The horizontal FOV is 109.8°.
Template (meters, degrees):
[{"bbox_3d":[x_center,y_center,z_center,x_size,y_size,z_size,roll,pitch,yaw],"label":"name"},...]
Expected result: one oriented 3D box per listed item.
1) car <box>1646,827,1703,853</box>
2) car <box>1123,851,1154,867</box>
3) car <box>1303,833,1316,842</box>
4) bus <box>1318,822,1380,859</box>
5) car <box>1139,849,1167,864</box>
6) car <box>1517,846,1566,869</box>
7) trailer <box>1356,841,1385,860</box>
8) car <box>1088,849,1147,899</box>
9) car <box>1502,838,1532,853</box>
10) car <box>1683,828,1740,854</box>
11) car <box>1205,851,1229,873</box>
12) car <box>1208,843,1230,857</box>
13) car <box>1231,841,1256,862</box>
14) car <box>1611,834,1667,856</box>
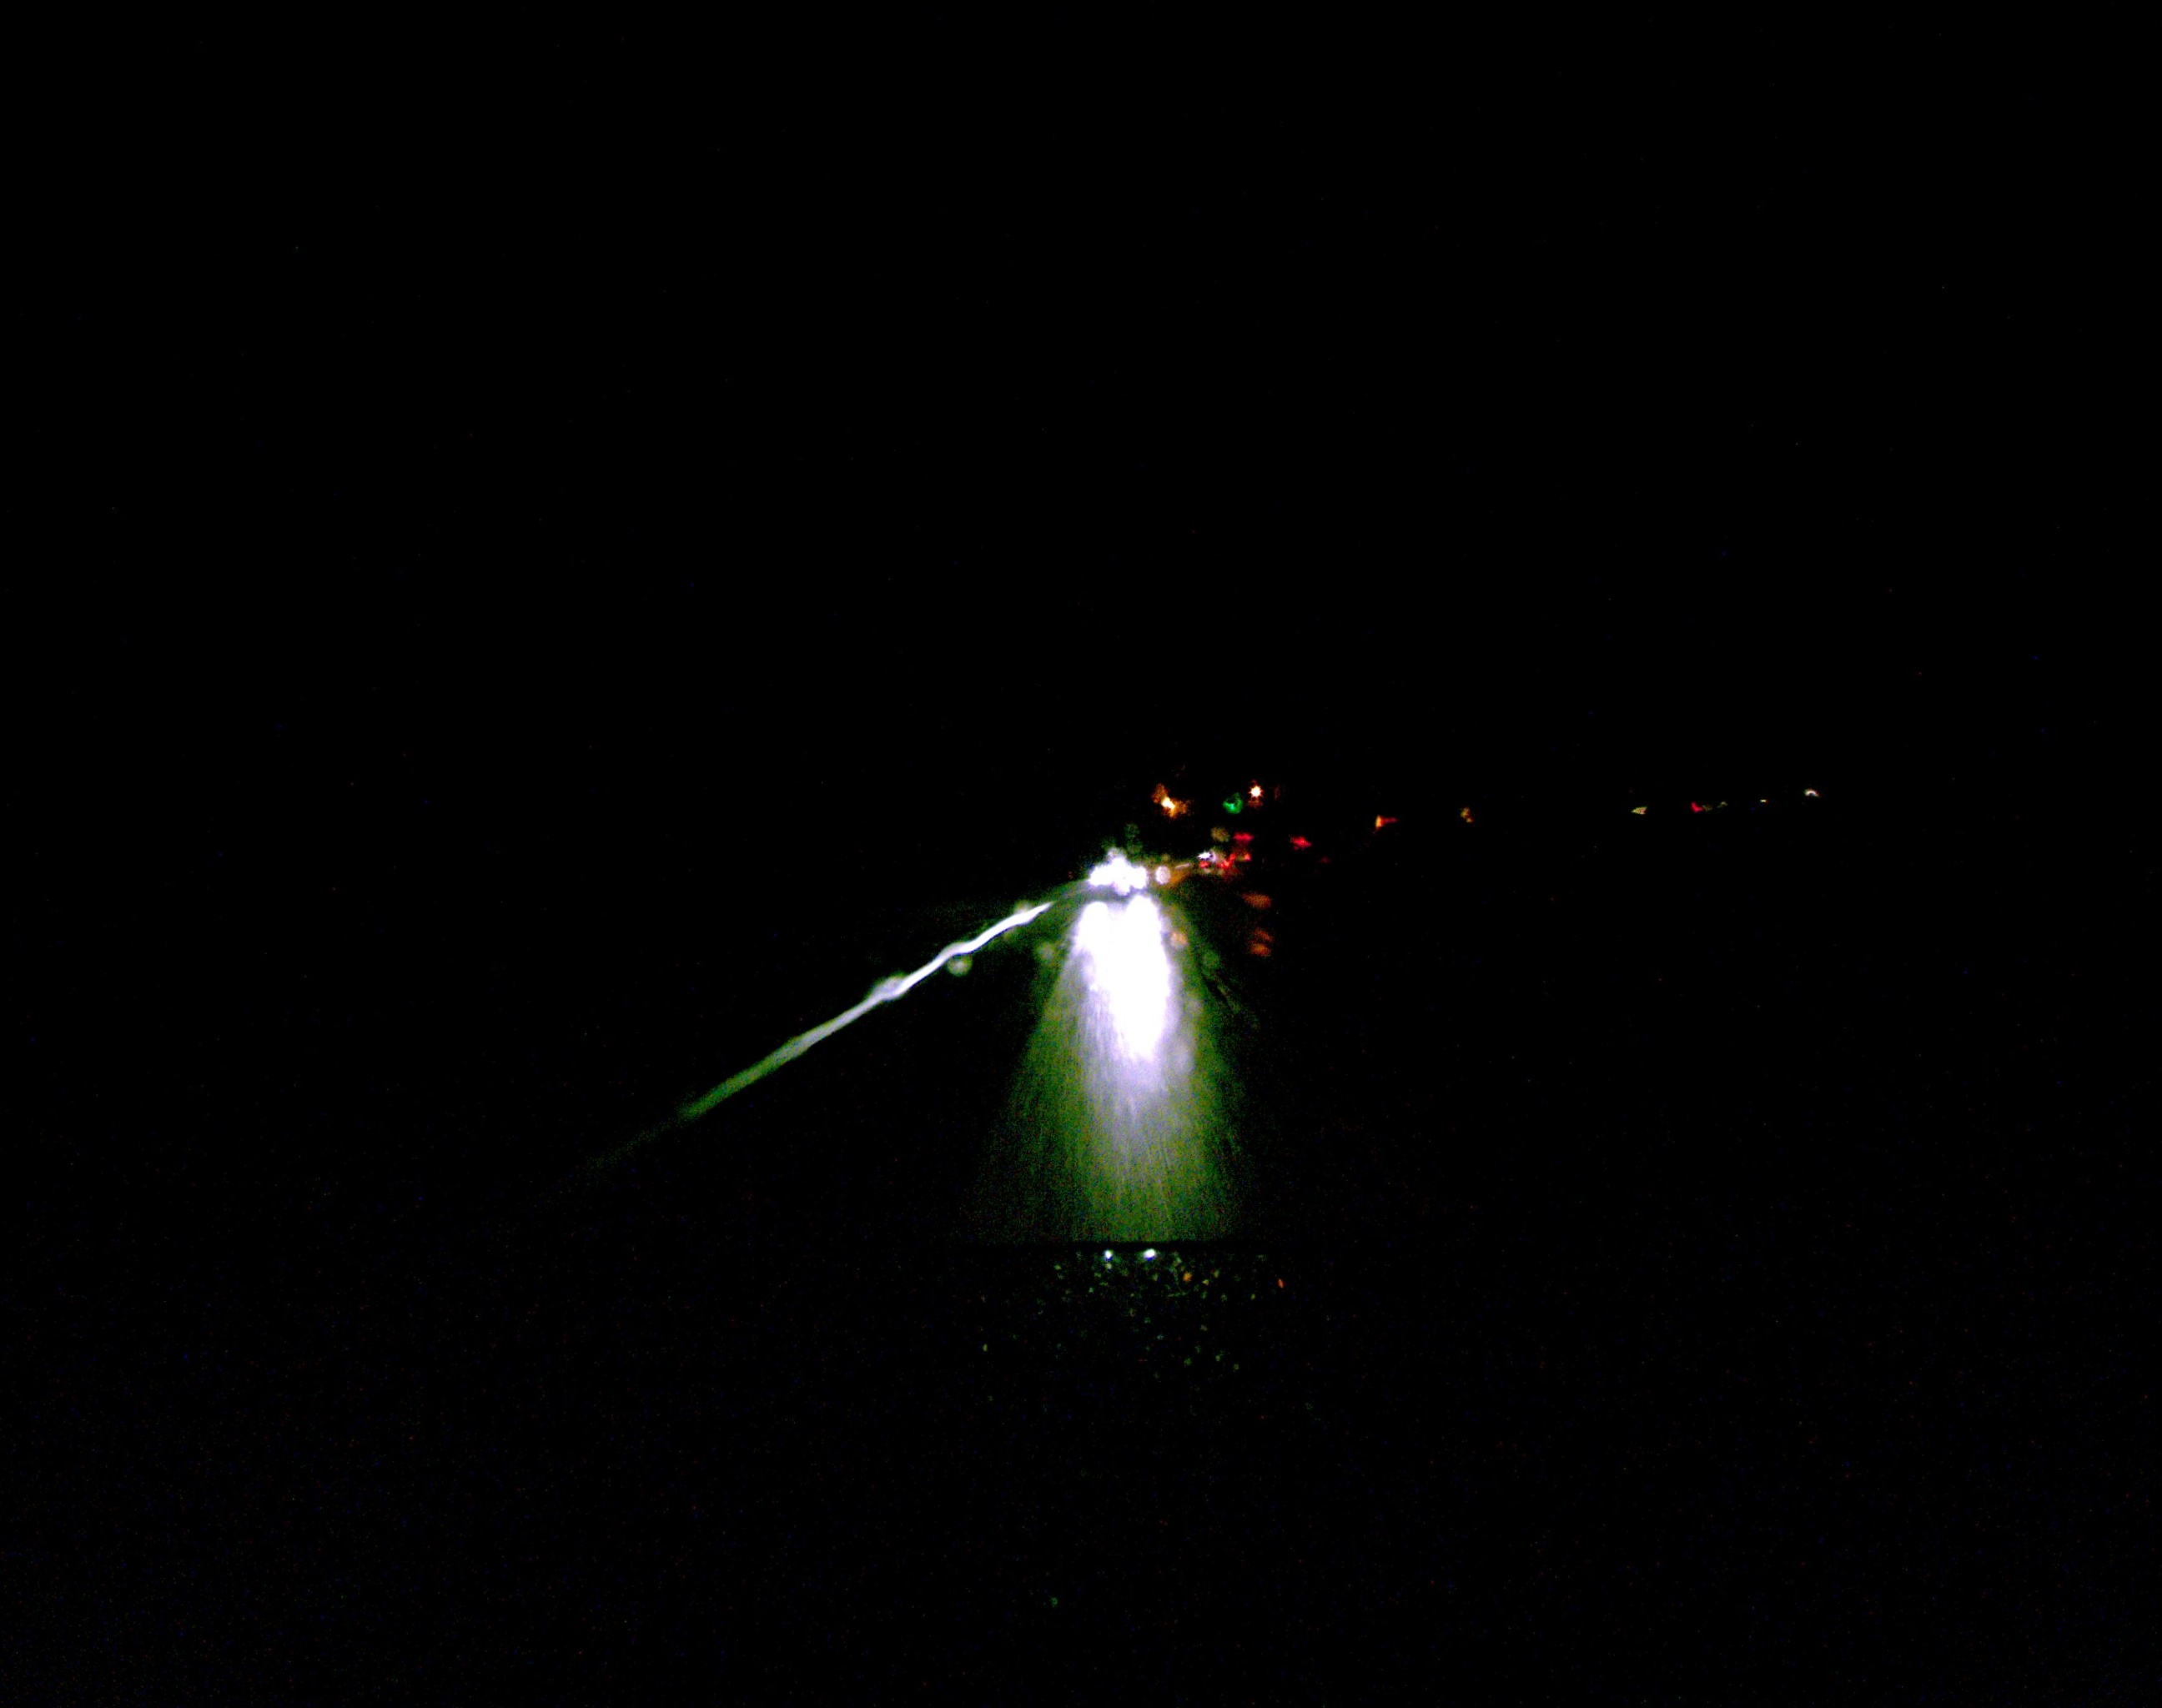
[{"bbox_3d":[52.764,-1.260,67.638,1.998,2.045,3.999,-4,3,3],"label":"car"},{"bbox_3d":[5.762,0.466,75.834,1.675,1.557,3.808,-1,0,26],"label":"car"},{"bbox_3d":[38.119,-2.766,126.803,1.636,1.502,4.123,1,1,22],"label":"car"},{"bbox_3d":[30.590,-1.658,87.520,2.900,3.847,13.056,-2,2,2],"label":"bus"},{"bbox_3d":[7.617,0.277,80.162,1.636,1.390,3.681,-1,1,26],"label":"car"},{"bbox_3d":[41.580,0.294,68.713,1.941,1.688,4.627,-4,3,6],"label":"car"},{"bbox_3d":[26.355,-0.369,69.290,1.815,1.668,4.103,1,1,11],"label":"trailer"},{"bbox_3d":[1.476,0.713,29.140,1.958,1.712,4.002,-1,0,6],"label":"car"},{"bbox_3d":[51.599,-1.030,89.863,4.046,1.391,1.855,-7,7,-43],"label":"car"},{"bbox_3d":[55.126,-1.166,66.478,1.763,2.045,3.999,-4,3,3],"label":"car"},{"bbox_3d":[9.745,0.540,54.675,1.638,1.501,4.098,0,1,9],"label":"car"},{"bbox_3d":[15.868,-0.458,87.327,1.927,1.501,4.100,0,1,18],"label":"car"},{"bbox_3d":[16.849,-0.290,78.779,1.996,2.002,4.850,-4,1,17],"label":"car"},{"bbox_3d":[49.740,-0.854,67.842,1.941,1.688,4.627,-4,3,6],"label":"car"}]
